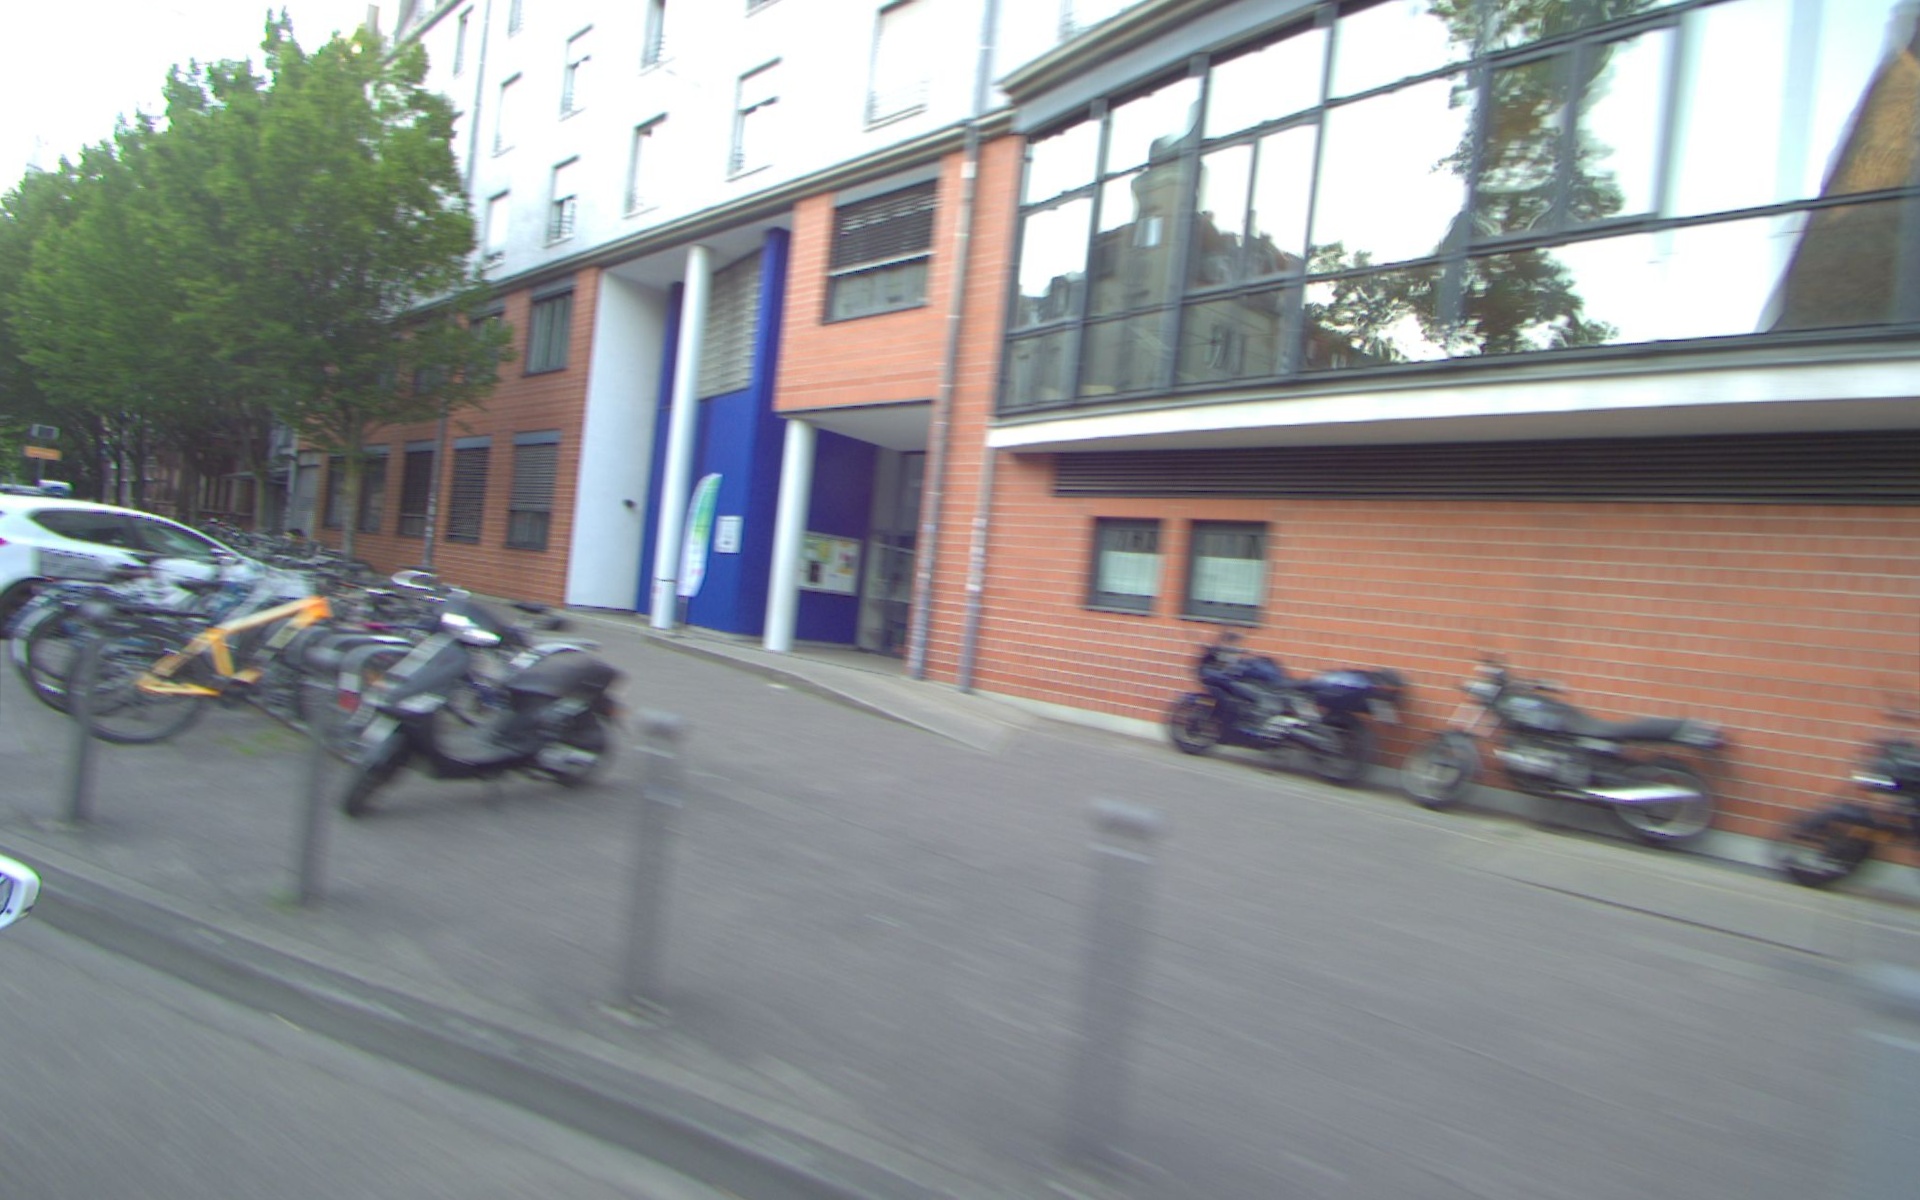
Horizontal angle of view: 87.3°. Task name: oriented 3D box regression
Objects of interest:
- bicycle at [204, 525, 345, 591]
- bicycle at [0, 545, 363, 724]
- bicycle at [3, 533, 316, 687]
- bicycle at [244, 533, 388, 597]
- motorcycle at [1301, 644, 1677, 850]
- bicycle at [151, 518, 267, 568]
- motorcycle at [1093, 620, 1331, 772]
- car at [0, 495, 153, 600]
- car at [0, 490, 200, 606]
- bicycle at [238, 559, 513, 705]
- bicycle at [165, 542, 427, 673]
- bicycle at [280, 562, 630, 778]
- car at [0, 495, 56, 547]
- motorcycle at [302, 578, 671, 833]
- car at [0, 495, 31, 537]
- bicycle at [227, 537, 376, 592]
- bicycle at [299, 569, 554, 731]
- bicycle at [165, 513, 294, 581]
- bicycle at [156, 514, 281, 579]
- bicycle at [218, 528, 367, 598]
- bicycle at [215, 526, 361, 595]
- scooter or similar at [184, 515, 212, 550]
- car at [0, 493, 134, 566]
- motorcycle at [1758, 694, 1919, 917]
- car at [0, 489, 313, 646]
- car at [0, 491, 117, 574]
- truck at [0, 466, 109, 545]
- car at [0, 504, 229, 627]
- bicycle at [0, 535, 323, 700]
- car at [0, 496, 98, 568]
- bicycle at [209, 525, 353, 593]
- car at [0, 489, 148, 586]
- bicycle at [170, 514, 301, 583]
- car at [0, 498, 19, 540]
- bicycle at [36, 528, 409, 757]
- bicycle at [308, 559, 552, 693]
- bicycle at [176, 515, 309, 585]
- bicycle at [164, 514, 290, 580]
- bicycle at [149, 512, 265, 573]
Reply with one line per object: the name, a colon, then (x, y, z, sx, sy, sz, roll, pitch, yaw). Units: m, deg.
bicycle: (-15.522, -0.940, 22.851, 0.555, 1.181, 2.527, 7, 0, 45)
bicycle: (-5.192, 0.248, 6.832, 0.465, 1.052, 1.853, 7, 2, 41)
bicycle: (-6.267, 0.113, 7.977, 0.439, 1.080, 1.853, 7, 2, 41)
bicycle: (-12.937, -0.692, 20.263, 2.337, 1.114, 0.671, 3, 3, -45)
motorcycle: (4.006, 1.049, 7.814, 2.375, 1.154, 0.776, 6, 2, 30)
bicycle: (-20.721, -1.560, 27.816, 2.522, 1.262, 0.591, 0, 5, -45)
motorcycle: (2.323, 0.845, 9.487, 2.054, 1.118, 0.587, 6, 3, 40)
car: (-15.824, -0.946, 16.346, 1.604, 1.556, 4.002, 7, 0, 12)
car: (-14.095, -0.812, 15.160, 1.677, 1.541, 4.002, 5, -1, 12)
bicycle: (-4.684, 0.282, 8.189, 0.396, 1.052, 1.853, 7, 2, 41)
bicycle: (-6.079, 0.108, 9.316, 0.517, 1.080, 1.907, 7, 2, 41)
bicycle: (-3.154, 0.410, 6.437, 0.650, 1.162, 1.853, 7, 3, 42)
car: (-31.346, -2.646, 32.000, 1.741, 1.493, 3.407, 7, 1, 12)
motorcycle: (-2.462, 0.508, 5.414, 0.637, 1.116, 1.644, 7, 2, 34)
car: (-36.025, -3.191, 35.935, 1.729, 1.455, 3.837, 7, 1, 9)
bicycle: (-13.775, -0.722, 21.115, 2.524, 0.972, 0.671, 3, 3, -45)
bicycle: (-3.872, 0.367, 7.398, 0.465, 1.052, 1.536, 7, 2, 41)
bicycle: (-18.680, -1.327, 25.775, 0.591, 1.396, 2.527, 7, 0, 45)
bicycle: (-19.724, -1.400, 26.805, 0.591, 1.396, 2.527, 7, 0, 45)
bicycle: (-14.261, -0.772, 21.573, 0.555, 1.181, 2.527, 7, 0, 45)
bicycle: (-14.658, -0.835, 22.017, 0.555, 1.181, 2.527, 7, 0, 45)
scooter or similar: (-28.053, -2.463, 37.036, 0.365, 1.234, 1.694, 3, 2, -23)
car: (-25.078, -1.974, 27.077, 1.727, 1.657, 3.997, 6, 0, 23)
motorcycle: (6.118, 1.286, 5.667, 2.407, 1.154, 0.797, 7, 2, 43)
car: (-9.847, -0.350, 11.429, 1.736, 1.525, 4.002, 6, 0, 14)
car: (-19.627, -1.477, 20.298, 1.690, 1.500, 3.607, 6, 0, 15)
truck: (-43.762, -4.498, 46.550, 2.236, 3.010, 6.308, 3, -4, 44)
car: (-12.390, -0.472, 13.454, 1.839, 1.491, 4.002, 5, -1, 10)
bicycle: (-5.880, 0.158, 7.464, 0.439, 1.080, 1.853, 7, 2, 41)
car: (-23.383, -1.766, 23.744, 1.772, 1.553, 4.389, 6, 0, 10)
bicycle: (-15.096, -0.890, 22.427, 0.555, 1.181, 2.527, 7, 0, 45)
car: (-17.537, -1.221, 18.602, 1.683, 1.600, 3.607, 6, 0, 10)
bicycle: (-18.208, -1.274, 25.328, 0.591, 1.396, 2.527, 7, 0, 45)
car: (-37.716, -3.288, 37.353, 1.607, 1.548, 3.896, 7, -1, 4)
bicycle: (-4.358, 0.260, 6.065, 0.465, 1.191, 1.704, 7, 2, 41)
bicycle: (-4.762, 0.259, 9.158, 0.517, 1.080, 1.853, 7, 2, 41)
bicycle: (-17.680, -1.218, 24.864, 0.591, 1.396, 2.527, 7, 0, 45)
bicycle: (-19.150, -1.355, 26.334, 0.591, 1.396, 2.527, 7, 0, 45)
bicycle: (-21.573, -1.639, 28.867, 0.591, 1.396, 2.527, 7, 0, 45)
